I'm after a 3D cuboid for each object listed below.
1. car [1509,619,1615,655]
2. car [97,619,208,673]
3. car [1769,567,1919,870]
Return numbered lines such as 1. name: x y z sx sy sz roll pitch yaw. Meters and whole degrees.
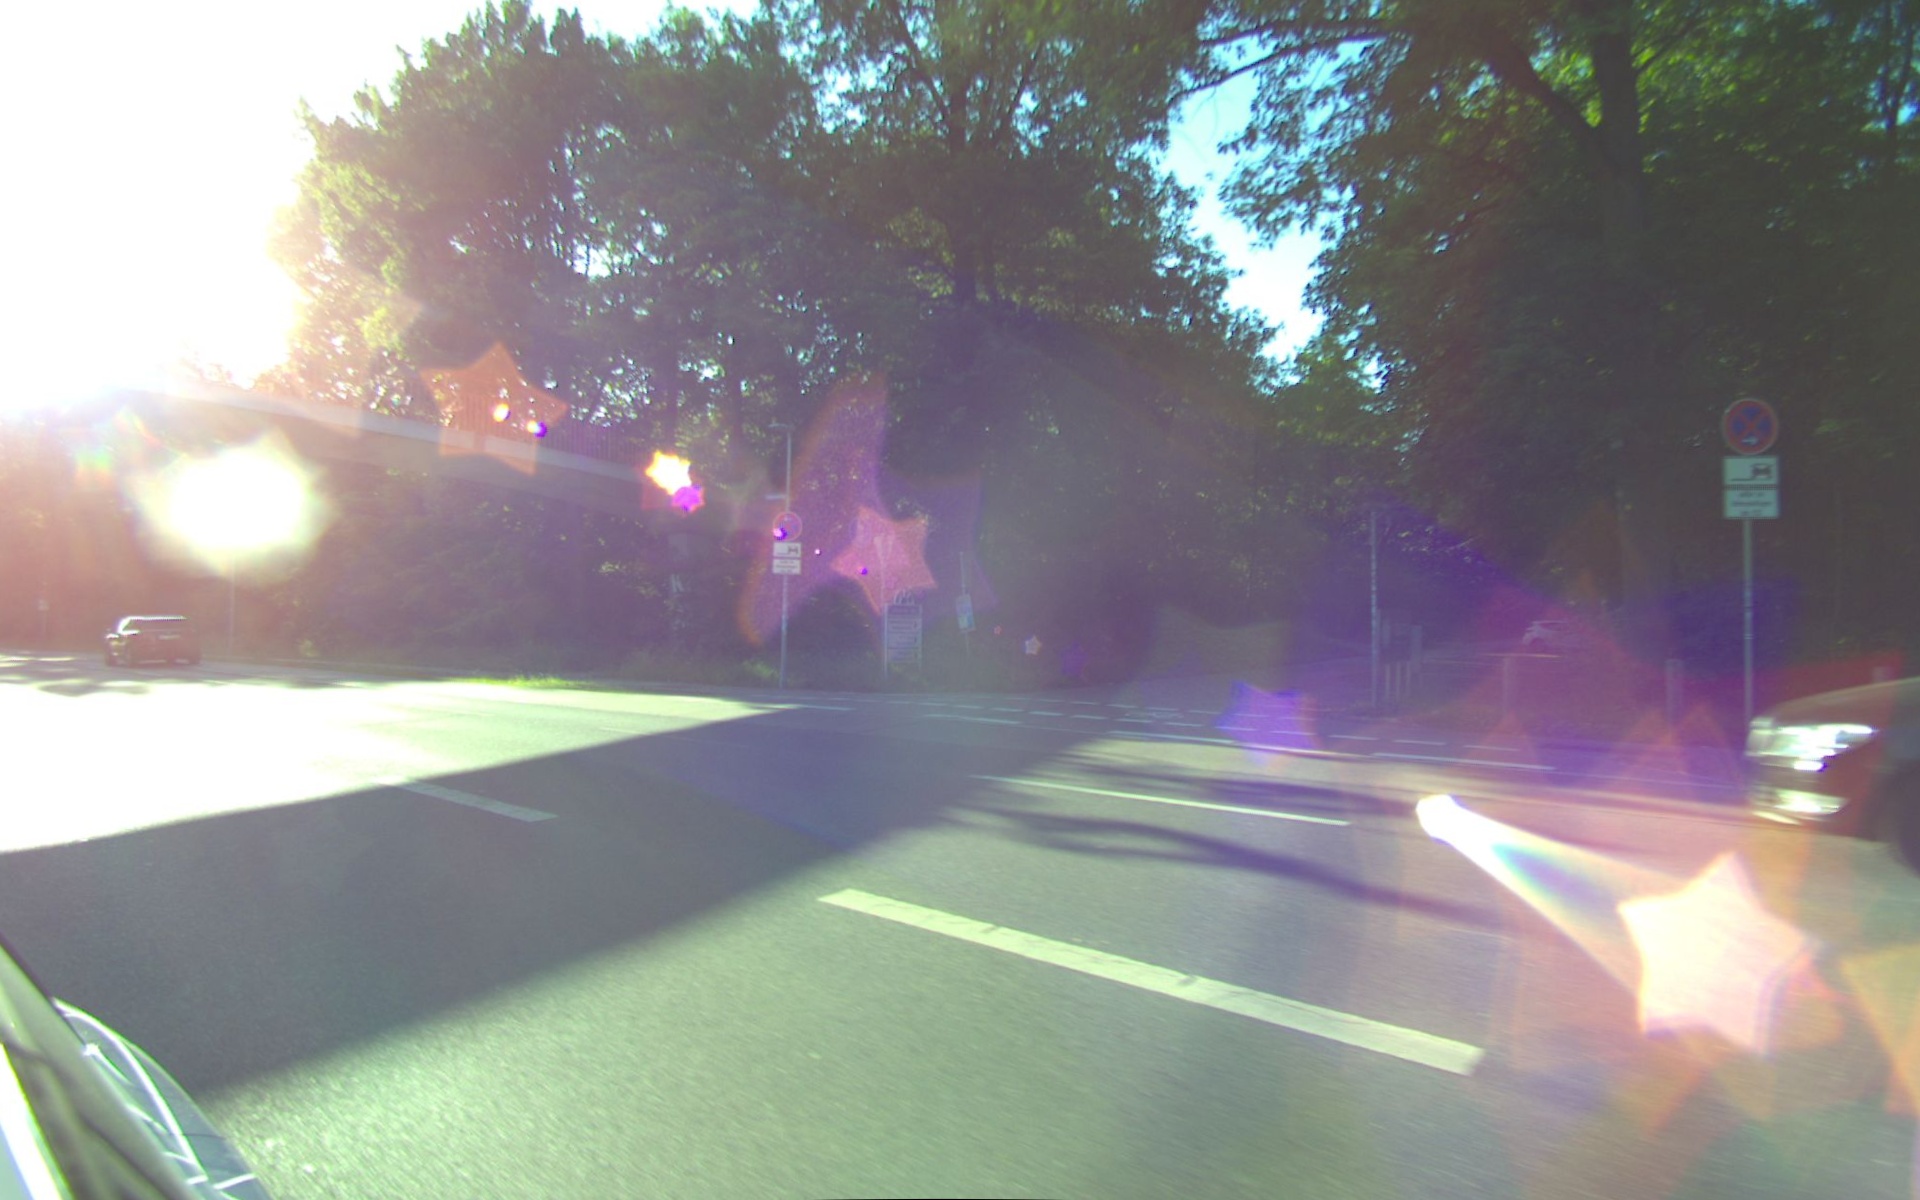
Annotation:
1. car: 26.787 1.609 45.089 3.910 1.515 1.551 -1 0 36
2. car: -25.459 1.431 31.861 3.994 1.560 1.824 -2 -1 37
3. car: 6.372 0.536 4.483 4.310 1.477 1.498 -2 -1 40
